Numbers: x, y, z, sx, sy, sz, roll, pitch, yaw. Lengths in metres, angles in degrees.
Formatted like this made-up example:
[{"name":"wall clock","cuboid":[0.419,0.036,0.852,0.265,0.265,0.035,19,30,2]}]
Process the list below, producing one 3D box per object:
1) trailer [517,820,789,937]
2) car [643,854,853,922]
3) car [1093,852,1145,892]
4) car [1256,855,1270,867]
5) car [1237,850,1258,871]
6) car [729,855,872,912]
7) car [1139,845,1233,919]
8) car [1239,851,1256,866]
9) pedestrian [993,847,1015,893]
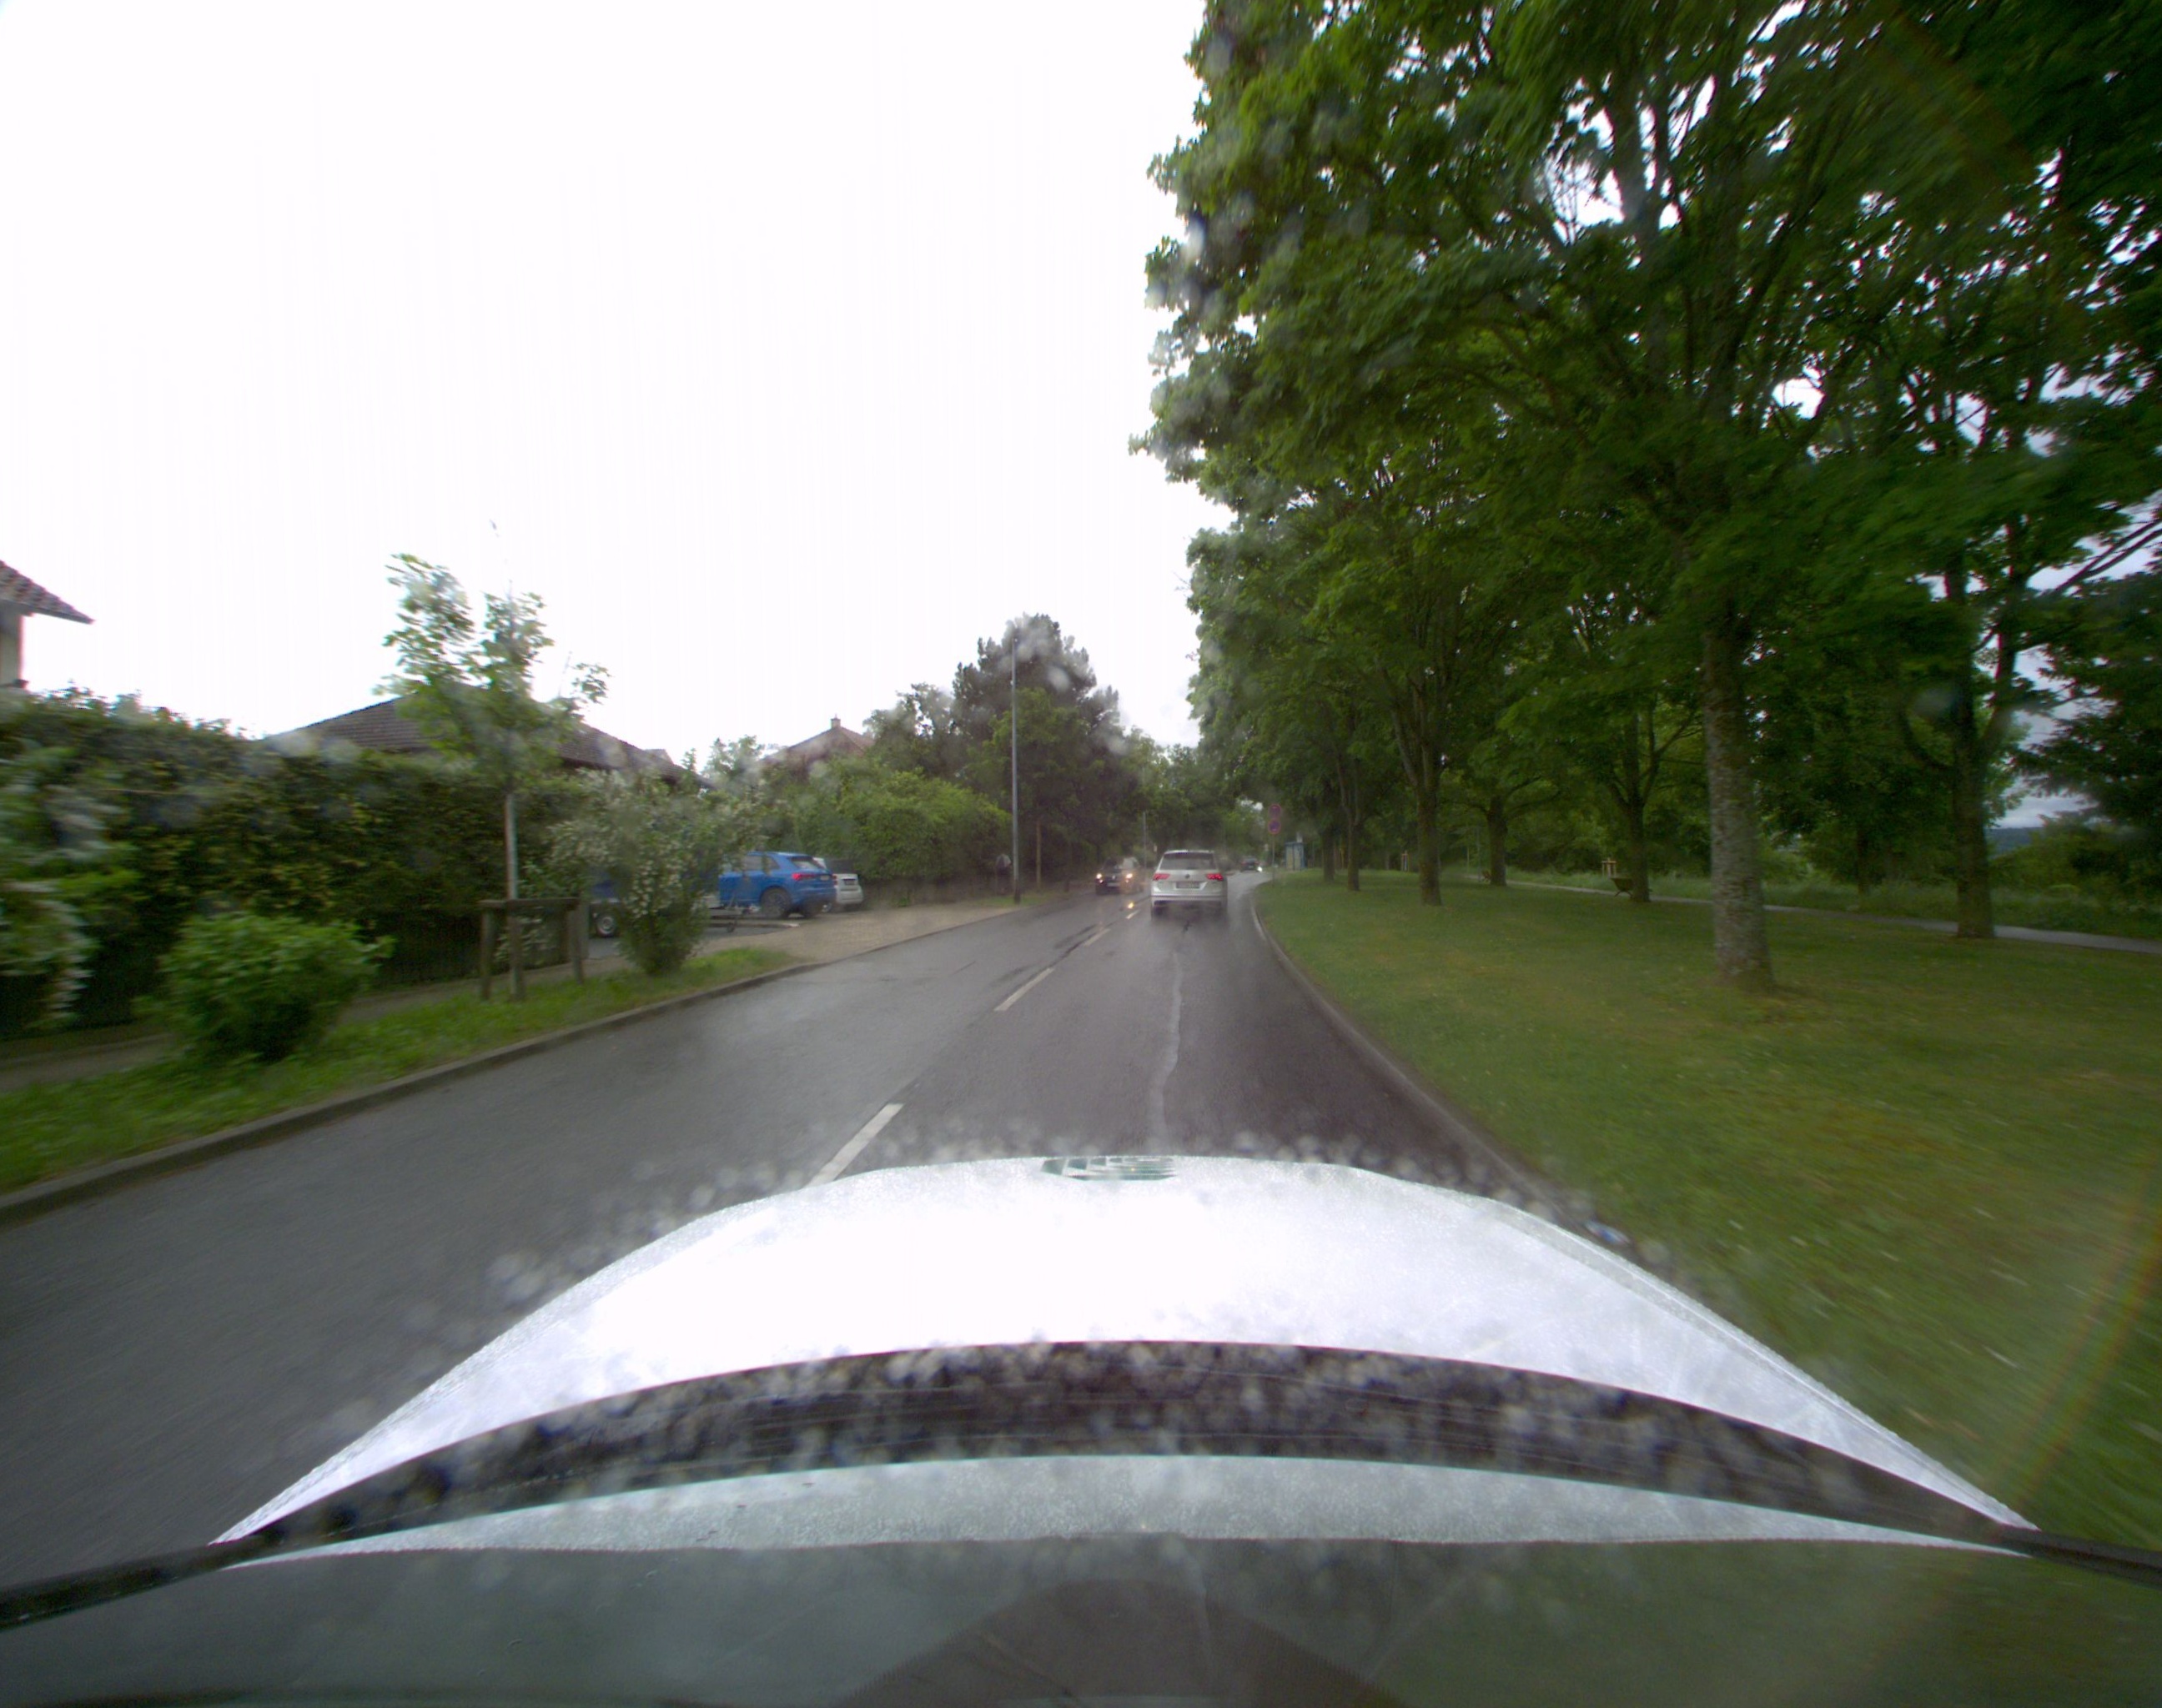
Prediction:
[{"name":"trailer","cuboid":[-8.548,0.484,16.447,4.595,2.171,1.819,-1,0,7]},{"name":"car","cuboid":[-7.991,0.795,19.790,4.214,1.539,2.056,-1,0,7]},{"name":"car","cuboid":[1.622,0.689,33.340,1.573,1.477,3.907,-2,0,10]},{"name":"car","cuboid":[27.753,1.082,124.362,1.981,1.805,4.010,0,-2,10]},{"name":"car","cuboid":[16.149,0.658,79.195,1.889,2.014,3.955,0,-2,11]},{"name":"car","cuboid":[-7.879,0.803,23.044,3.384,1.519,1.734,-1,0,7]},{"name":"car","cuboid":[2.769,0.647,20.568,1.961,1.653,4.191,-1,0,12]},{"name":"car","cuboid":[20.450,0.523,100.169,1.981,1.759,4.010,0,-2,10]},{"name":"pedestrian","cuboid":[-2.840,0.570,30.046,0.775,1.662,0.842,-1,0,-4]}]
